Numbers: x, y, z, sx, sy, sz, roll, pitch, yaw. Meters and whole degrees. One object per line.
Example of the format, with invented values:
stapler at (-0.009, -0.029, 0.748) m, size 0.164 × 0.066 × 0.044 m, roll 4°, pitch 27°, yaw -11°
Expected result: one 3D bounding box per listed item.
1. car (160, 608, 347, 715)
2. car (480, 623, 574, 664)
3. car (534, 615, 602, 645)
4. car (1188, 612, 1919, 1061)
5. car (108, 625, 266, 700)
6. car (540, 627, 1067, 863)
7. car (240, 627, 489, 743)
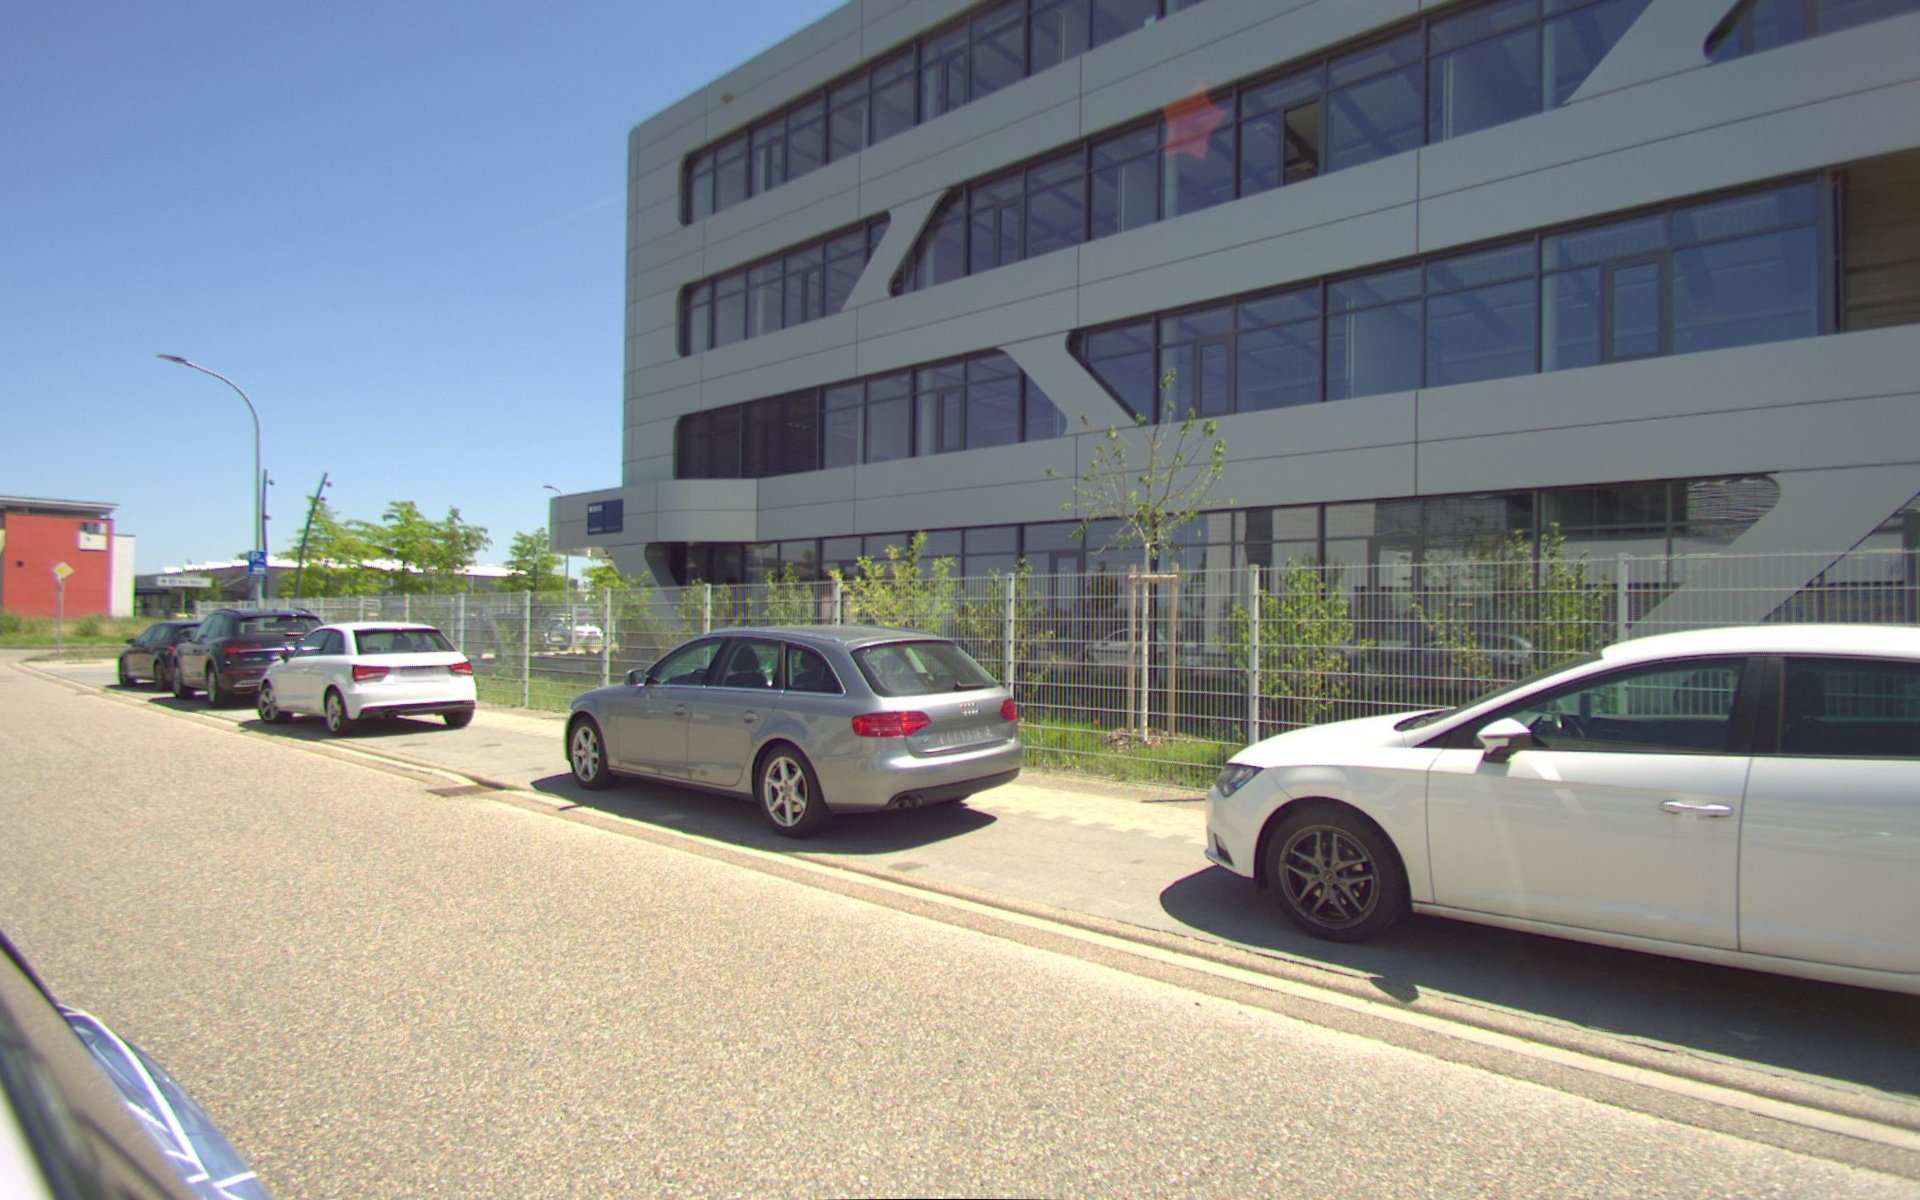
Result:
car at (-12.748, 1.033, 18.123) m, size 4.850 × 1.664 × 1.750 m, roll -2°, pitch -2°, yaw 43°
car at (-17.078, 1.674, 39.864) m, size 4.103 × 1.523 × 1.752 m, roll -1°, pitch -2°, yaw 41°
car at (-20.426, 1.593, 52.706) m, size 4.113 × 1.487 × 1.589 m, roll -3°, pitch -3°, yaw 41°
car at (3.361, 0.786, 4.226) m, size 4.436 × 1.455 × 1.686 m, roll -1°, pitch -1°, yaw 40°
car at (-16.706, 1.283, 21.810) m, size 4.181 × 1.477 × 1.752 m, roll -2°, pitch -2°, yaw 39°
car at (-1.505, 0.933, 8.201) m, size 4.637 × 1.396 × 1.666 m, roll -2°, pitch -2°, yaw 42°
car at (-8.345, 1.083, 14.071) m, size 3.932 × 1.396 × 1.683 m, roll -2°, pitch -2°, yaw 38°
